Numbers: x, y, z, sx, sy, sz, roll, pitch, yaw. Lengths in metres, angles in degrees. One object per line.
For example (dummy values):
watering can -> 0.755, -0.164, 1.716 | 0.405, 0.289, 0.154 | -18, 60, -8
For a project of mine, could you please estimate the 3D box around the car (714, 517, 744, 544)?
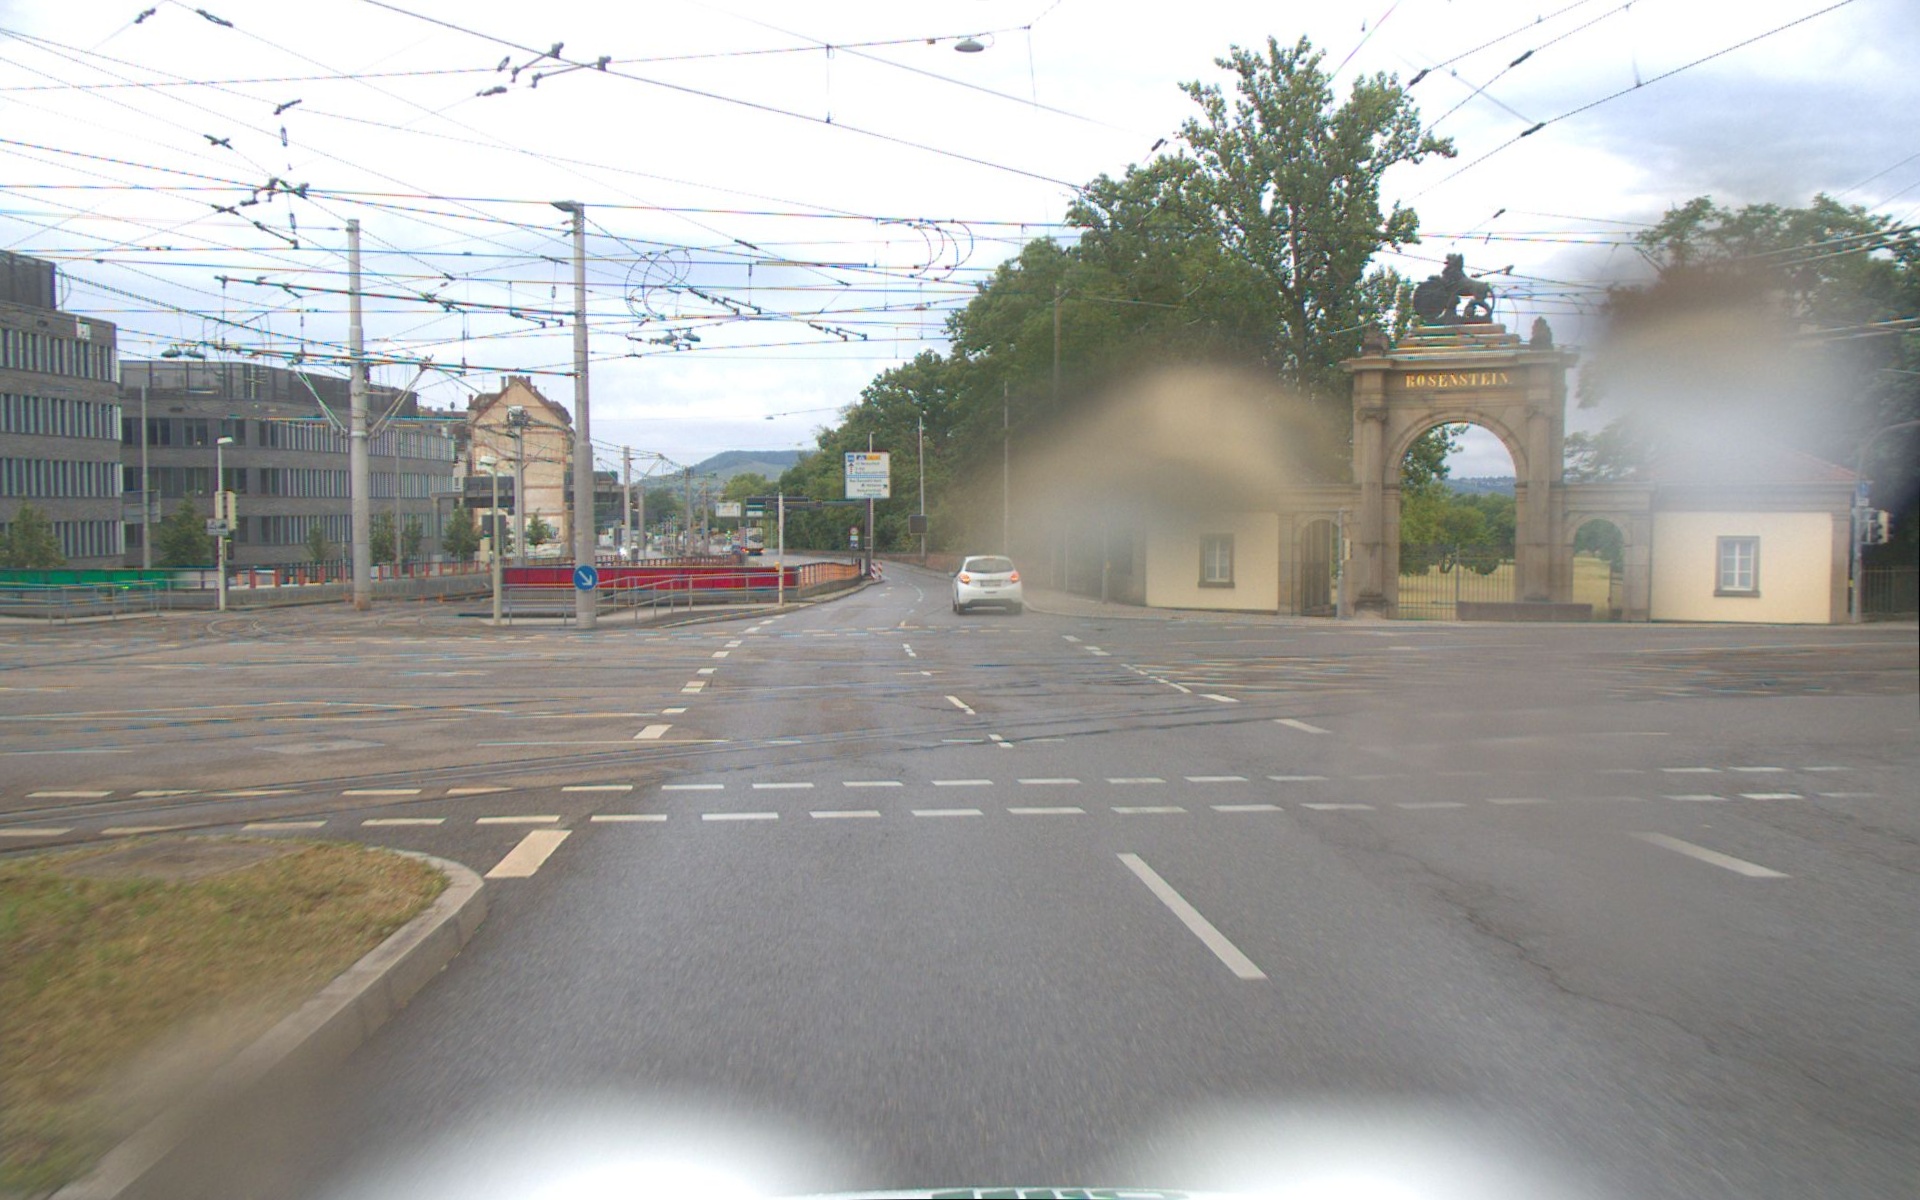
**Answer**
car -> -17.025, -5.091, 121.704 | 1.958, 1.905, 3.990 | -2, 2, -11

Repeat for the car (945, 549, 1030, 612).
car -> 0.672, -0.470, 43.347 | 1.916, 1.514, 3.997 | 0, -1, -4

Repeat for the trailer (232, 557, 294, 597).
trailer -> -38.744, -1.270, 92.052 | 1.789, 2.110, 4.272 | 0, -1, -3

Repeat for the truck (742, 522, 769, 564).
truck -> -29.614, -8.180, 239.097 | 3.401, 5.495, 12.025 | 0, -1, -9
